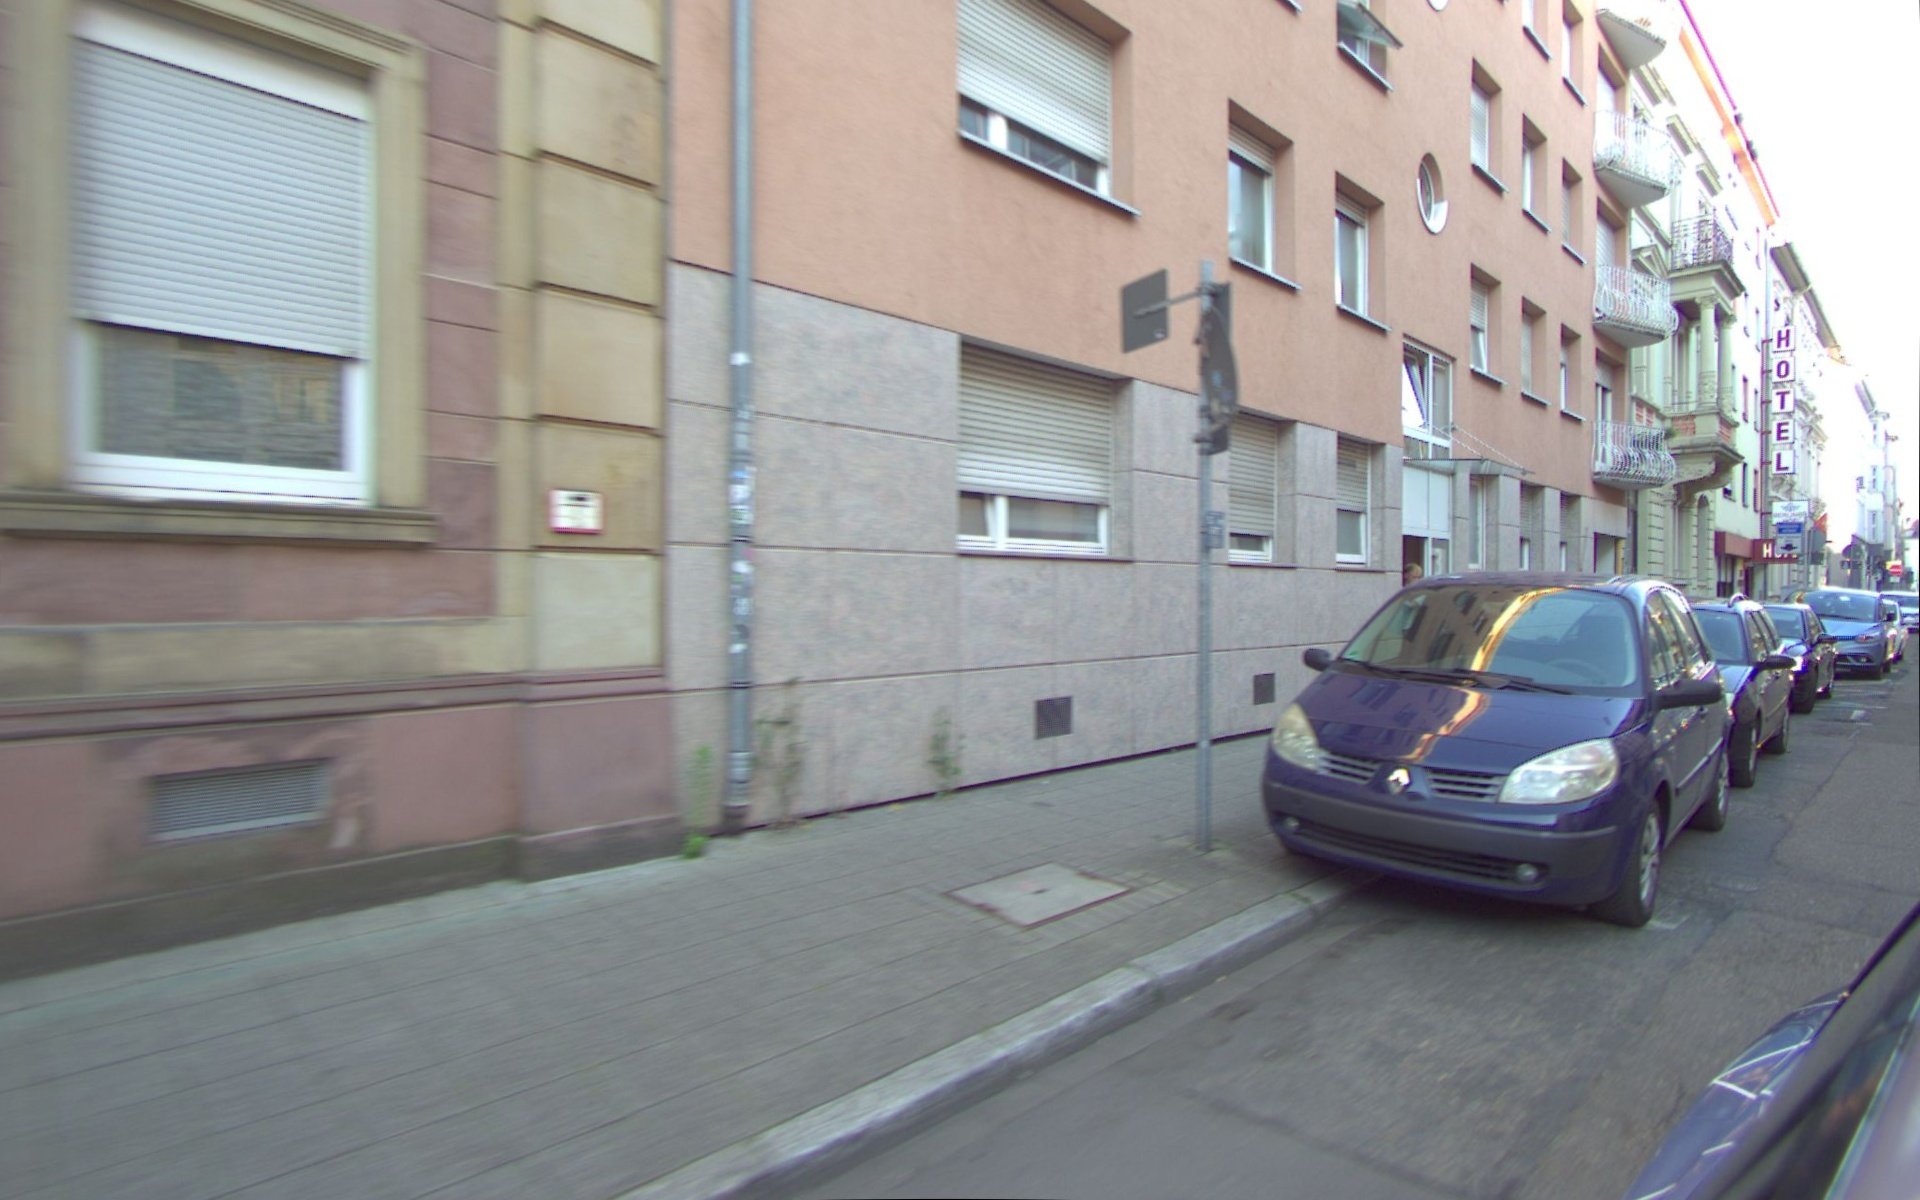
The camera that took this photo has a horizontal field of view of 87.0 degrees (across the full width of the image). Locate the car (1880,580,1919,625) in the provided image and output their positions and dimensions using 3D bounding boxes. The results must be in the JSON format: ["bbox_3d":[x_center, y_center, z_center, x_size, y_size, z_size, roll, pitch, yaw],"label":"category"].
[{"bbox_3d":[39.899,0.093,42.185,4.286,1.715,1.840,-1,5,-43],"label":"car"}]

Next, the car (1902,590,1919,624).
[{"bbox_3d":[43.795,0.293,45.578,3.909,1.497,1.726,-1,0,-43],"label":"car"}]

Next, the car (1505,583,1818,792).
[{"bbox_3d":[6.753,0.618,9.548,4.213,1.533,1.690,-1,1,-45],"label":"car"}]

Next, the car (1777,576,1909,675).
[{"bbox_3d":[17.543,0.432,20.053,4.042,1.763,1.690,-1,1,-45],"label":"car"}]

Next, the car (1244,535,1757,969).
[{"bbox_3d":[3.371,0.552,5.889,1.689,1.645,3.992,0,1,43],"label":"car"}]

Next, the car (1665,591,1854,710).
[{"bbox_3d":[11.739,0.613,14.764,4.064,1.476,1.690,-1,1,-45],"label":"car"}]

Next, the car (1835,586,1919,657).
[{"bbox_3d":[22.466,0.458,24.592,3.531,1.598,1.571,-1,1,-45],"label":"car"}]
